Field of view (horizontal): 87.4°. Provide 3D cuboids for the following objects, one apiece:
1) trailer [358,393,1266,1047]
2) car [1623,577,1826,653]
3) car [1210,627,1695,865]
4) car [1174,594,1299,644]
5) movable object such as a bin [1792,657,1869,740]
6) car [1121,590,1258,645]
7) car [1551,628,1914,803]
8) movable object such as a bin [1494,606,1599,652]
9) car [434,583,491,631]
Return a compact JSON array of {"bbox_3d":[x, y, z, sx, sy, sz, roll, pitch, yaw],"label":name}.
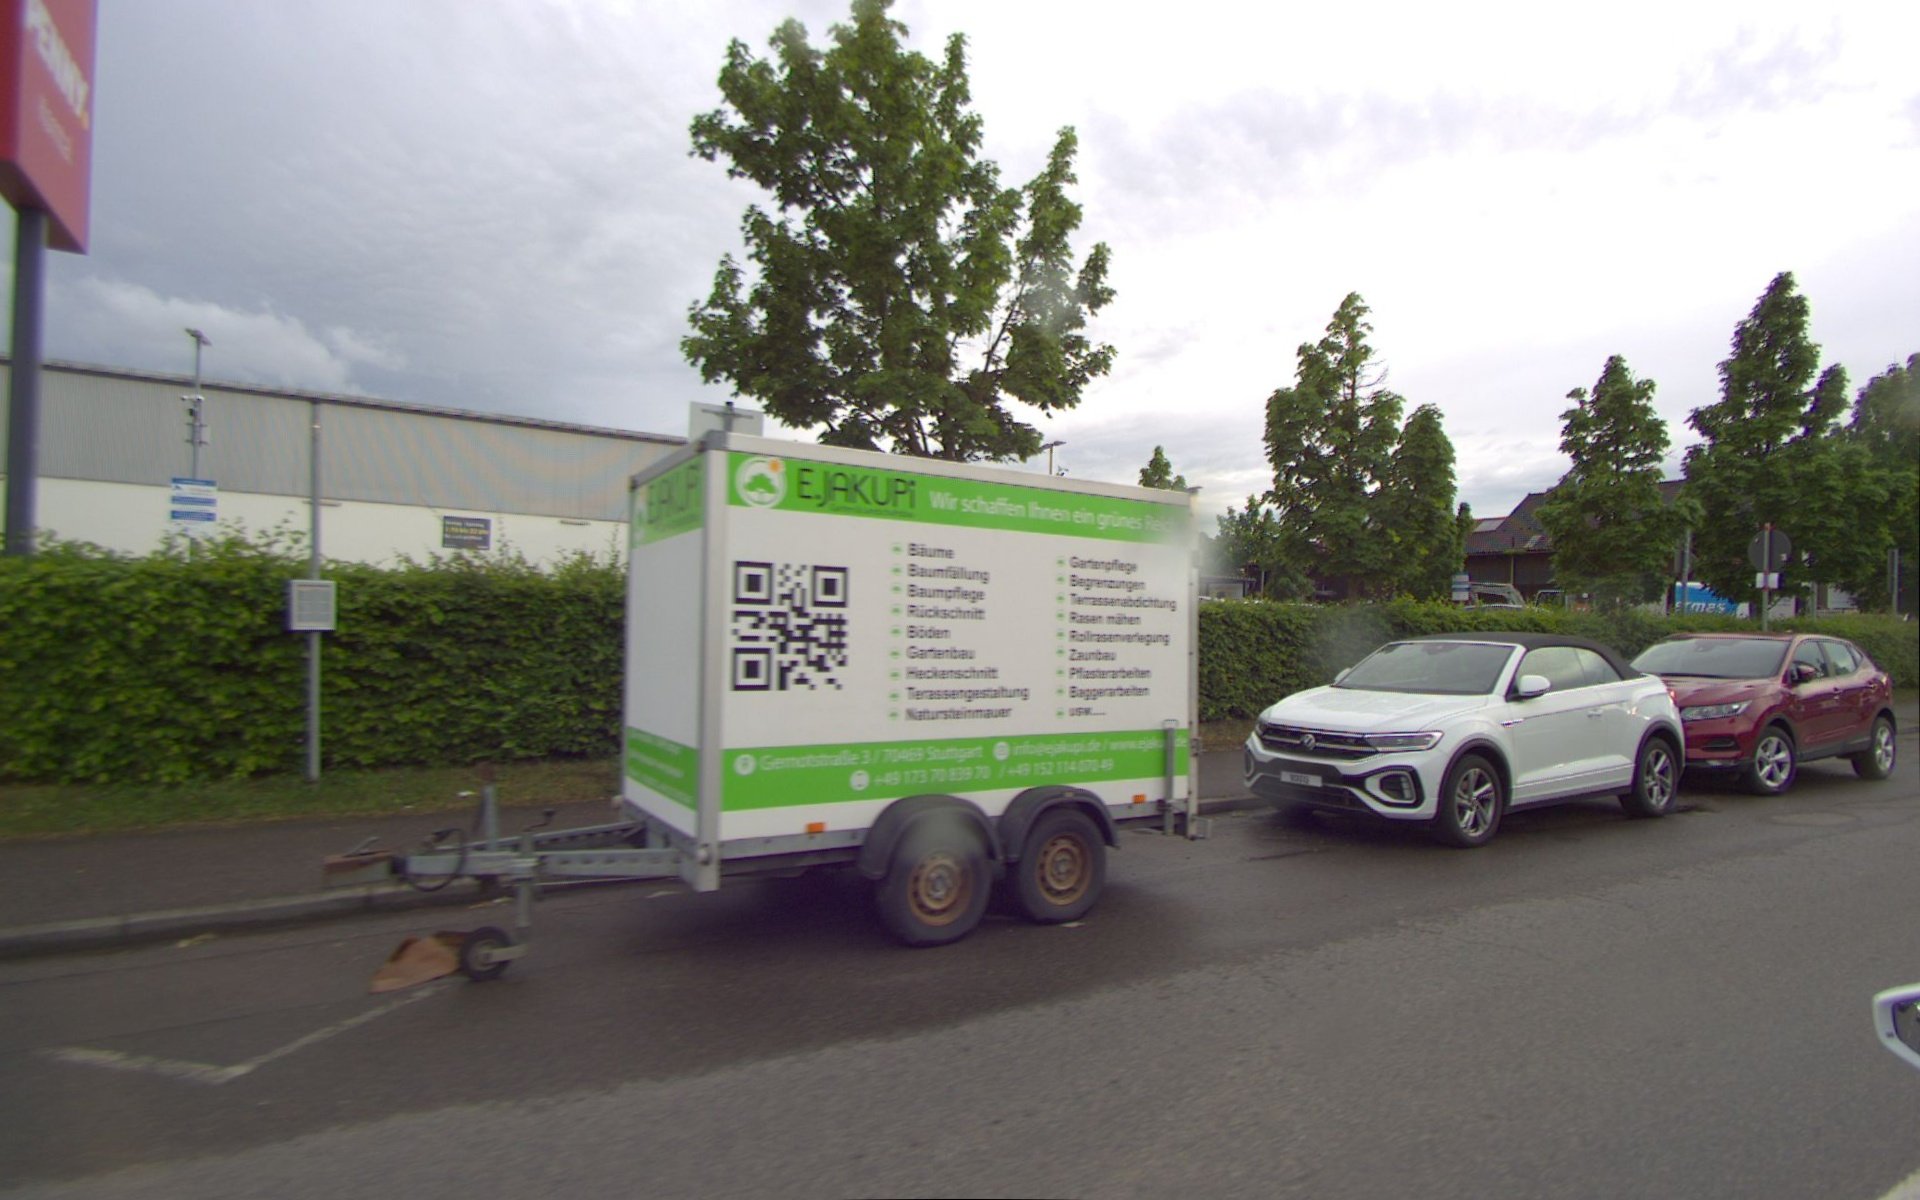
[{"bbox_3d":[-0.615,0.508,5.622,4.677,2.344,1.804,1,-3,-32],"label":"trailer"},{"bbox_3d":[22.405,0.403,29.614,2.038,2.040,4.286,2,0,-30],"label":"car"},{"bbox_3d":[4.208,1.008,8.427,4.090,1.518,1.763,1,-1,-32],"label":"car"},{"bbox_3d":[9.185,0.608,33.628,1.678,1.540,3.864,2,0,-34],"label":"car"},{"bbox_3d":[13.116,1.469,15.146,0.613,1.173,0.670,2,0,-26],"label":"movable object such as a bin"},{"bbox_3d":[7.207,0.518,31.895,1.867,1.572,4.028,2,0,-35],"label":"car"},{"bbox_3d":[8.620,1.120,11.132,4.293,1.594,1.796,1,-1,-32],"label":"car"},{"bbox_3d":[25.121,1.225,43.086,1.981,1.783,3.397,2,0,-36],"label":"movable object such as a bin"},{"bbox_3d":[-18.088,0.220,36.446,1.640,1.628,3.709,2,0,-29],"label":"car"}]
